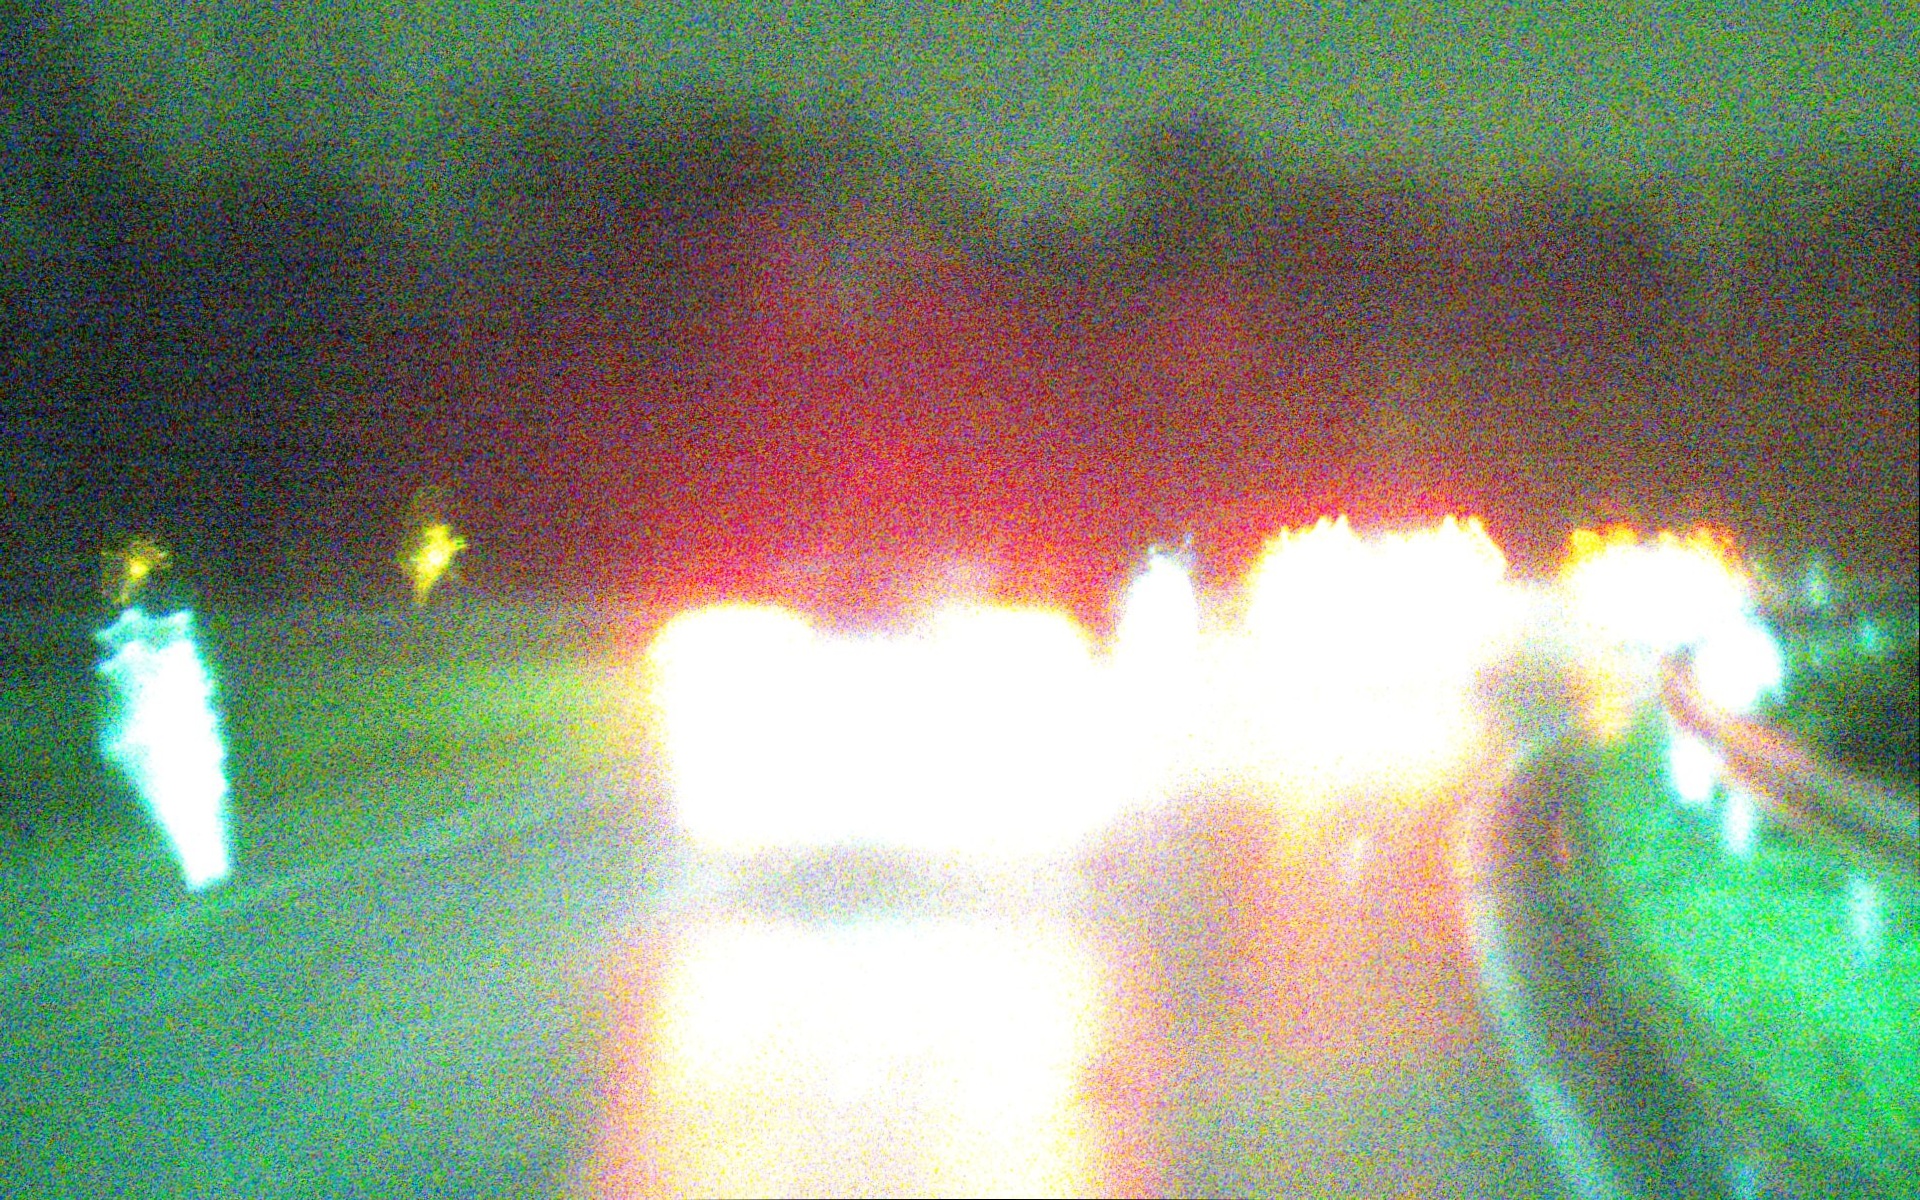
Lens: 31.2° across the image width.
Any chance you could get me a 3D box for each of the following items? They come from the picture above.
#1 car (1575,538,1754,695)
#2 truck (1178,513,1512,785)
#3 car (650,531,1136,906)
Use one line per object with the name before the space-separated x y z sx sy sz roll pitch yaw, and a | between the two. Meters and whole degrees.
car | 9.276 0.181 45.045 1.838 1.942 3.996 1 1 18
truck | 4.159 0.413 35.732 3.071 2.520 7.164 1 1 9
car | -0.225 0.467 15.782 1.944 1.486 3.716 -1 0 2
